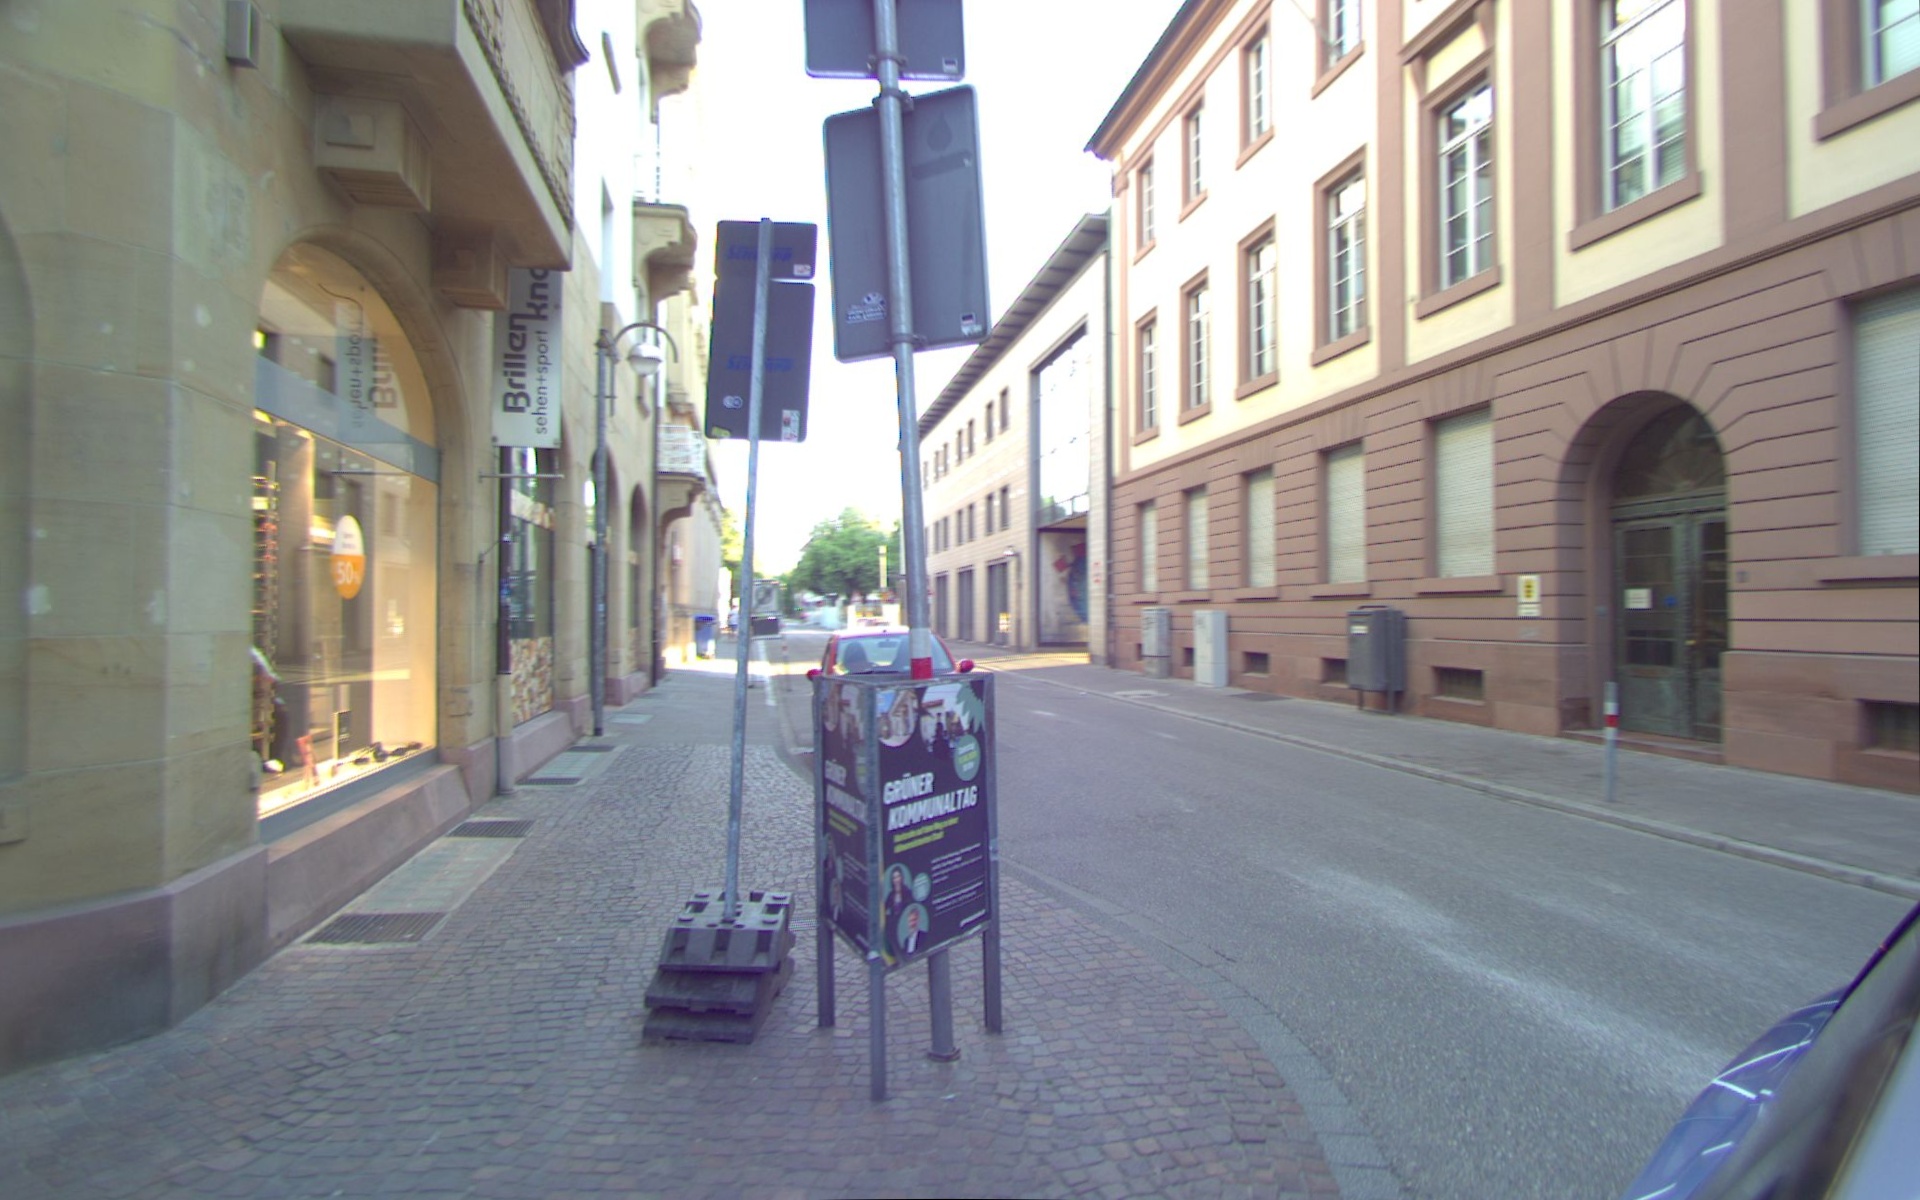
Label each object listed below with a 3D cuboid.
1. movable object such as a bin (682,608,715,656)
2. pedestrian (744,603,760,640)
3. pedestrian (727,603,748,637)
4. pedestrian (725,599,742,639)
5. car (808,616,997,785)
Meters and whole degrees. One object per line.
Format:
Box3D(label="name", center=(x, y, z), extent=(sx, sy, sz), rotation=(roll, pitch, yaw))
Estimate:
Box3D(label="movable object such as a bin", center=(-8.011, 0.979, 31.089), extent=(0.880, 1.393, 1.139), rotation=(3, -1, -13))
Box3D(label="pedestrian", center=(-9.779, 0.995, 47.535), extent=(0.635, 1.674, 0.760), rotation=(4, -2, -14))
Box3D(label="pedestrian", center=(-10.752, 0.965, 48.894), extent=(0.838, 1.619, 0.926), rotation=(4, -2, -14))
Box3D(label="pedestrian", center=(-10.585, 0.887, 47.249), extent=(0.635, 1.802, 0.760), rotation=(4, -2, -14))
Box3D(label="car", center=(-0.792, 0.953, 11.203), extent=(1.586, 1.443, 3.603), rotation=(-3, 0, -10))
